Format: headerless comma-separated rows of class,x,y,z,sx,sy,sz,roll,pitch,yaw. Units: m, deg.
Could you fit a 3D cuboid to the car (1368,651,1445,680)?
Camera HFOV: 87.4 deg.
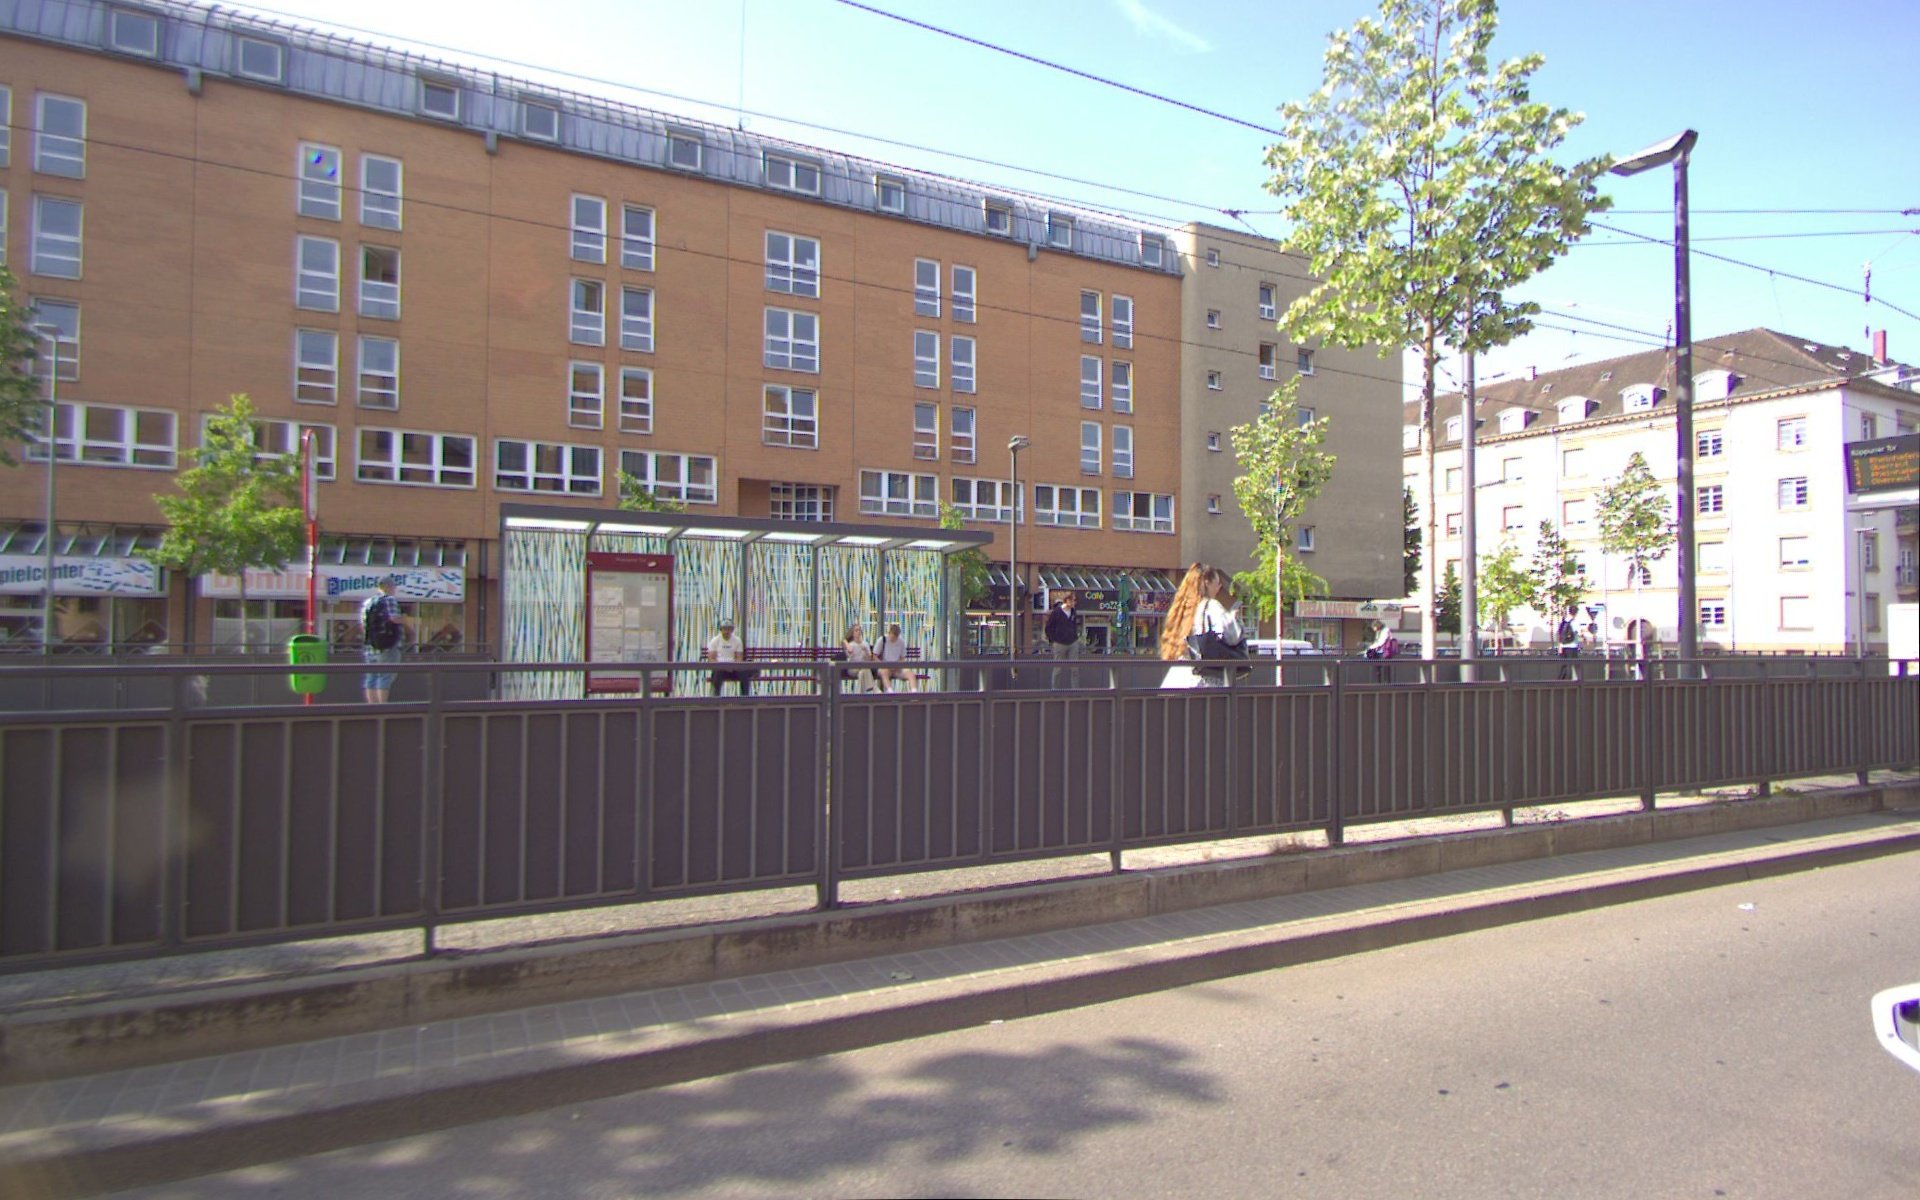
car,25.111,3.643,56.430,3.951,1.528,1.985,1,-3,-29

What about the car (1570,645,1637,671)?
car,36.273,3.235,56.591,3.955,1.424,1.664,2,-3,-32

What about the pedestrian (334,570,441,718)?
pedestrian,-7.136,0.557,12.535,0.771,1.769,0.834,-2,-4,27

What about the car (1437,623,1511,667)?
car,32.367,2.827,63.194,5.000,2.617,1.982,2,-3,-34

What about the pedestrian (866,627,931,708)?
pedestrian,-1.006,1.085,16.274,0.666,1.261,1.149,1,-3,-26

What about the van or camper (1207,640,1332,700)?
van or camper,11.116,2.469,36.114,3.941,2.040,1.990,1,-2,-22

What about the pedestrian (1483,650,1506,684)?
pedestrian,25.764,3.231,48.443,0.675,1.604,0.798,2,-3,-42

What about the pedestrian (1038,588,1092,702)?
pedestrian,1.796,0.774,17.193,0.793,1.911,0.554,1,-2,-11

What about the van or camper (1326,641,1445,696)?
van or camper,16.046,2.557,37.915,3.942,1.994,1.927,1,-2,-22

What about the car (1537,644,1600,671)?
car,36.449,3.445,60.158,3.882,1.553,1.664,2,-3,-32

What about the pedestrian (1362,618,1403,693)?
pedestrian,8.976,1.175,21.322,0.666,1.550,0.810,-1,-2,33

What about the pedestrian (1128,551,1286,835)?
pedestrian,1.651,0.590,6.750,0.718,1.781,0.671,2,0,-27

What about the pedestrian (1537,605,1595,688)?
pedestrian,14.152,1.091,23.461,0.926,1.896,0.737,1,-2,-23

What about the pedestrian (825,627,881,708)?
pedestrian,-1.722,1.070,16.089,0.666,1.261,0.789,1,-3,-27

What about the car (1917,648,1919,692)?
car,41.940,2.888,41.432,4.568,1.829,1.988,1,-3,-25

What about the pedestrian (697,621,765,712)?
pedestrian,-3.506,1.007,15.347,0.799,1.331,0.865,1,-3,-29
